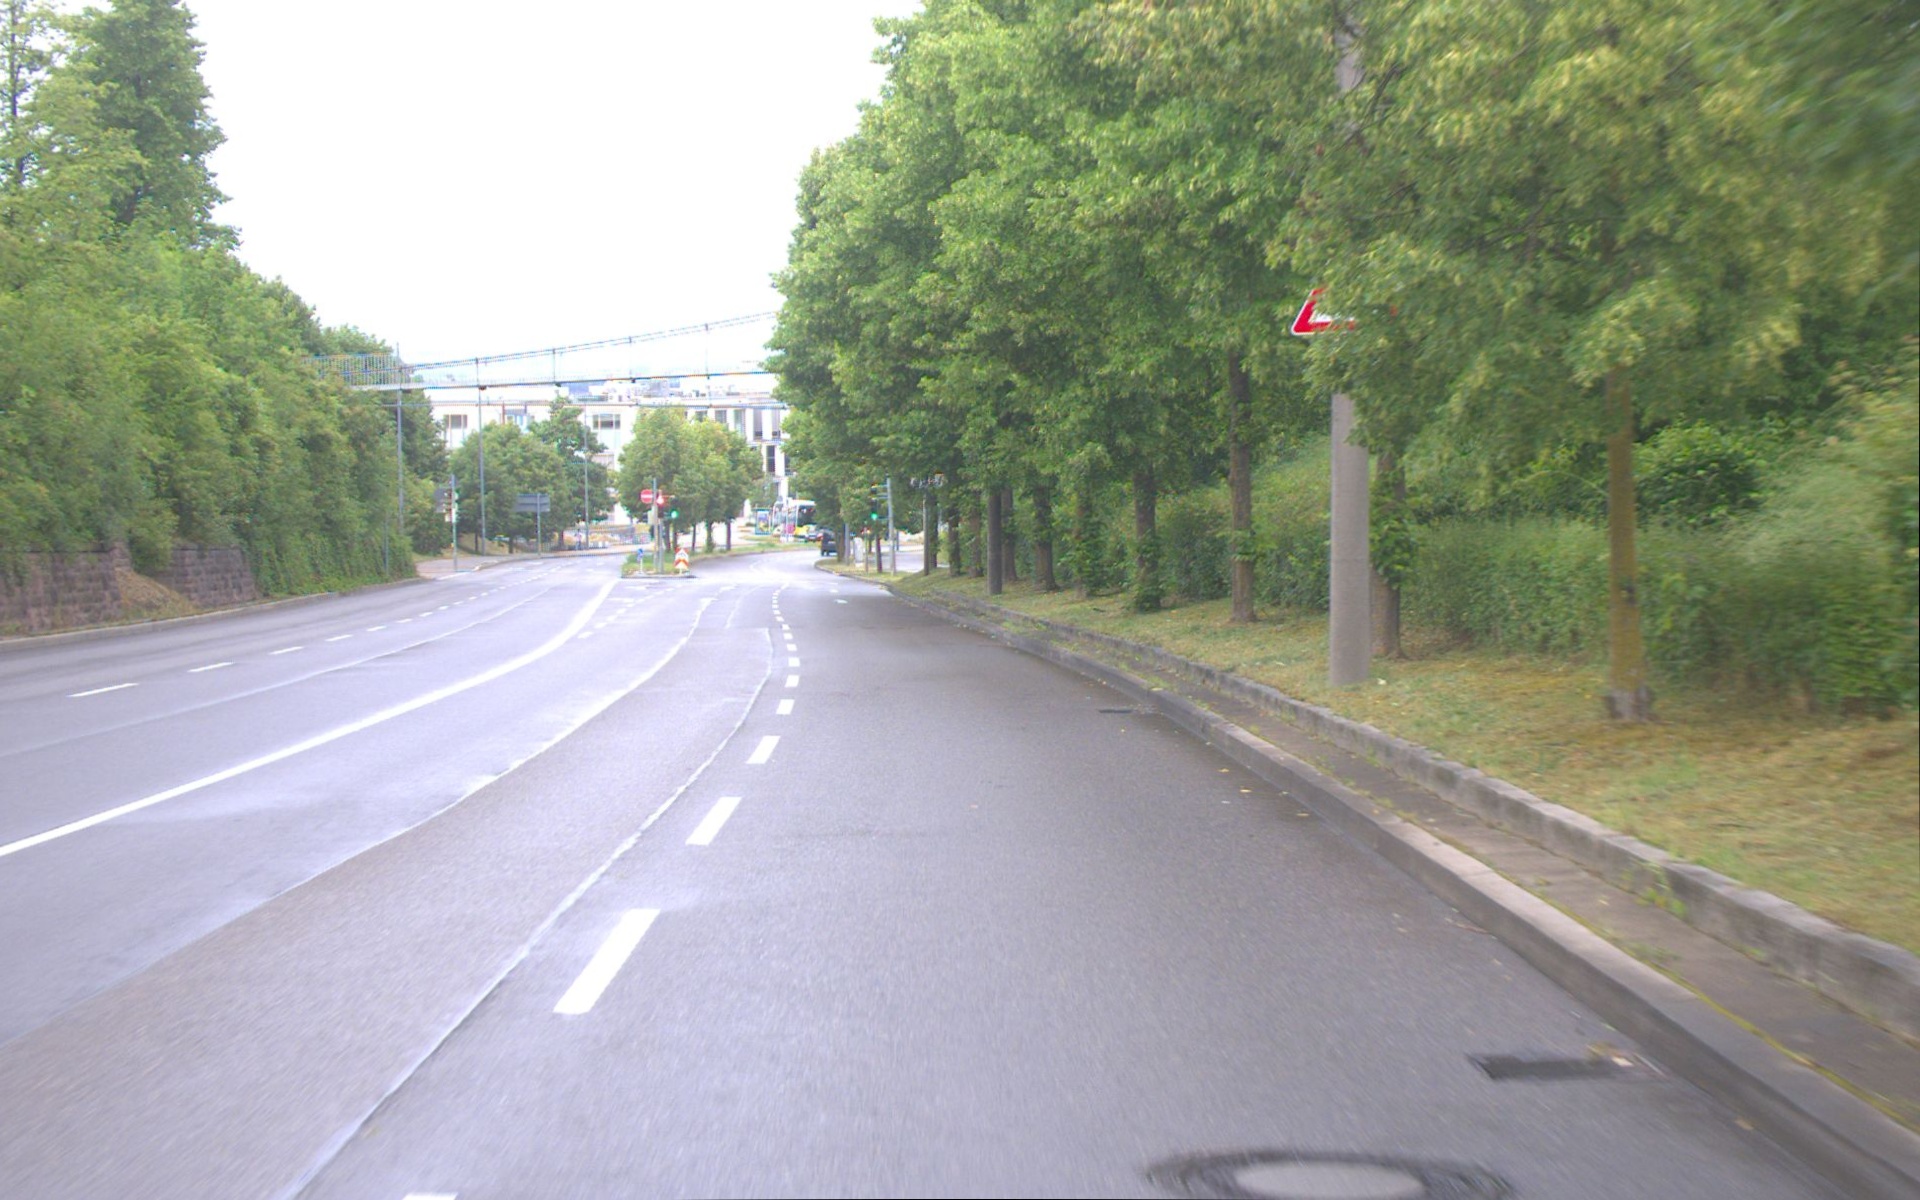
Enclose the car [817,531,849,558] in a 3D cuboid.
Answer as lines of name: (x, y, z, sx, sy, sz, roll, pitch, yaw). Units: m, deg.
car: (-8.532, -3.718, 230.505, 1.849, 1.696, 3.793, 1, 0, 2)
